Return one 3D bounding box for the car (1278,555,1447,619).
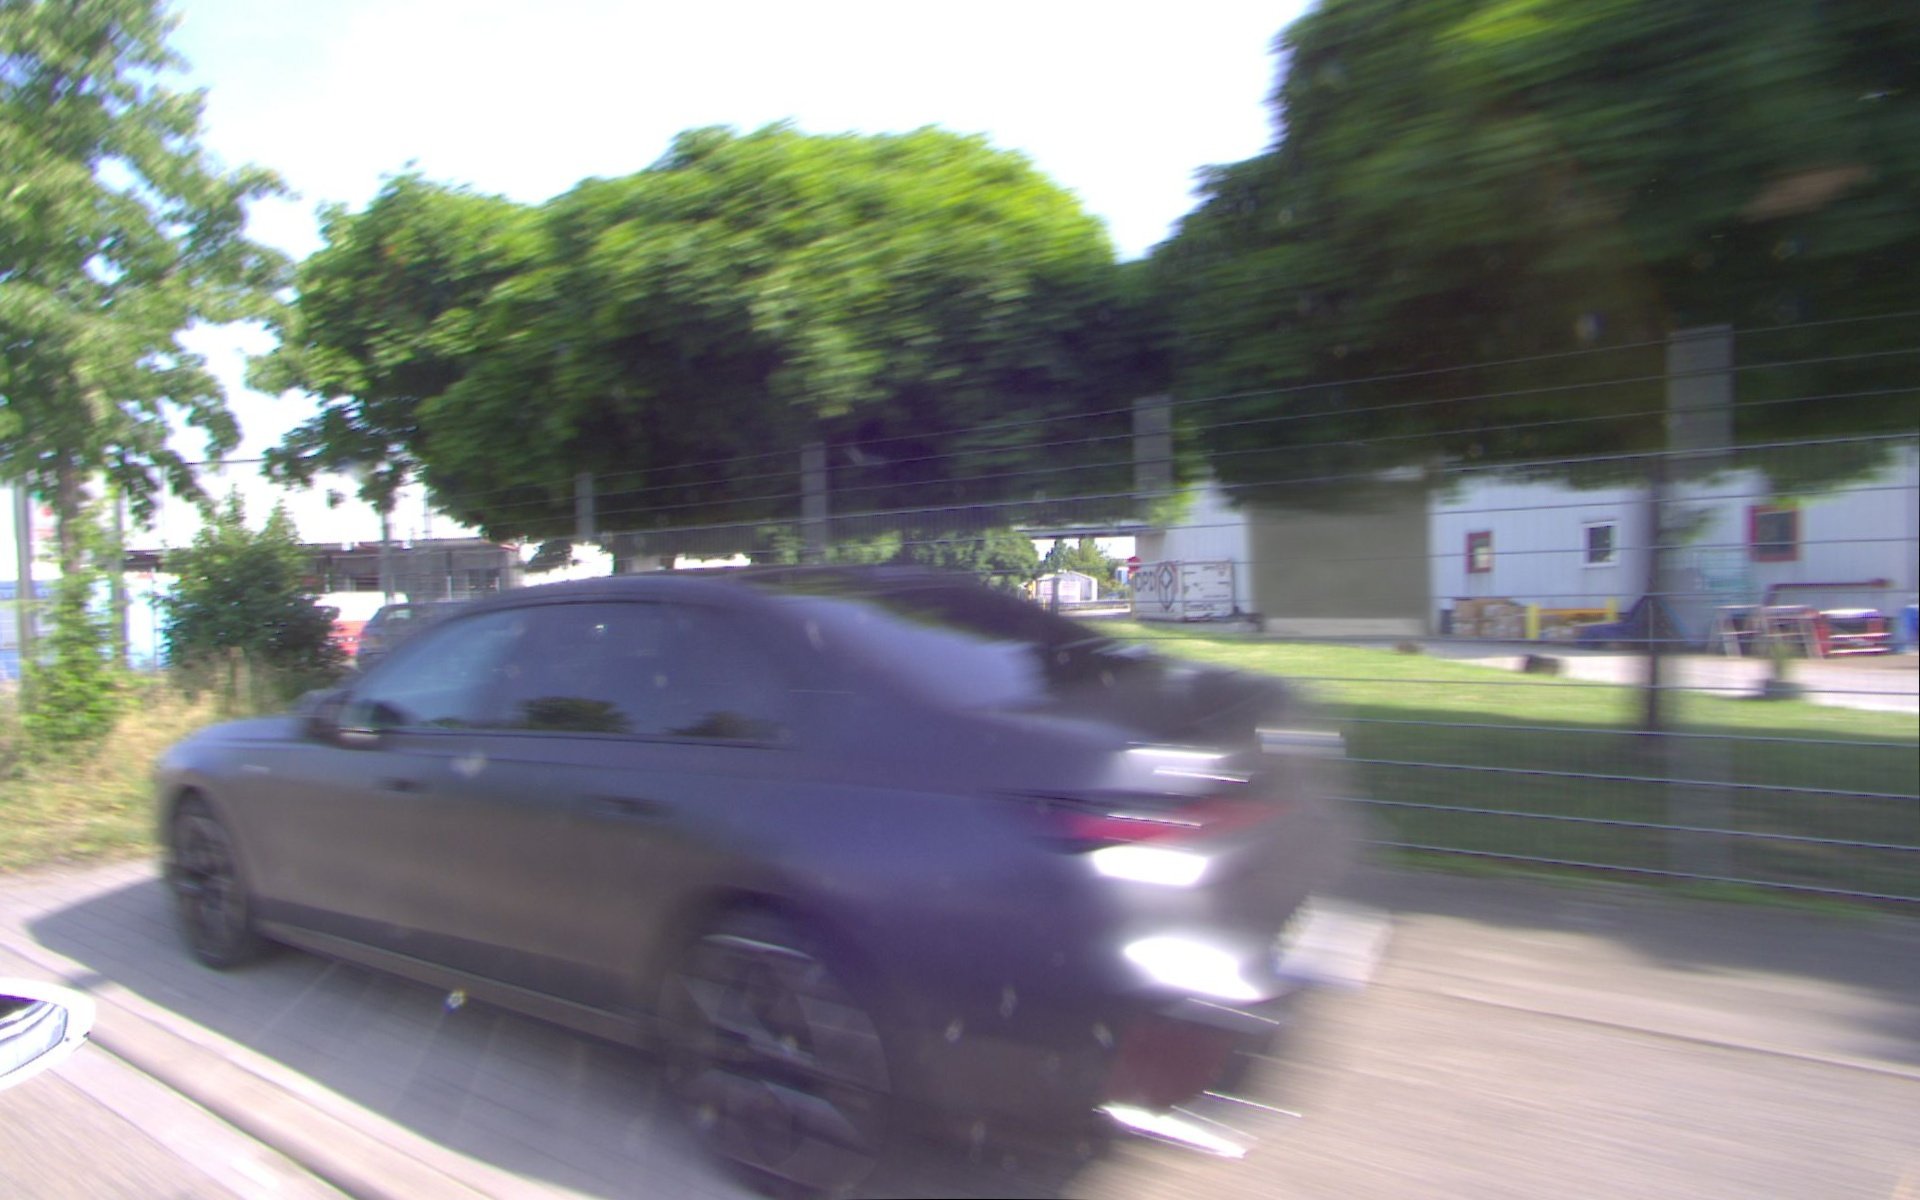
[{"bbox_3d":[17.392,-0.562,43.349,6.573,2.551,2.173,-2,1,-9],"label":"car"}]

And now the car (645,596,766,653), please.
[{"bbox_3d":[-7.693,0.692,30.731,1.696,1.537,4.488,-3,-1,13],"label":"car"}]

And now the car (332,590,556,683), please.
[{"bbox_3d":[-9.959,0.654,19.707,1.696,1.543,3.957,-4,-1,13],"label":"car"}]

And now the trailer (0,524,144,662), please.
[{"bbox_3d":[-28.848,-0.145,28.718,2.724,3.944,8.558,-3,-1,11],"label":"trailer"}]

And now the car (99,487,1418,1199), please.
[{"bbox_3d":[-1.133,0.625,3.845,5.046,1.595,1.875,-1,2,33],"label":"car"}]

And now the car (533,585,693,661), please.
[{"bbox_3d":[-8.569,0.540,25.146,1.843,1.646,4.266,-4,-1,11],"label":"car"}]

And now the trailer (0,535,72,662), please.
[{"bbox_3d":[-31.723,0.004,29.366,2.723,3.946,8.556,-1,1,10],"label":"trailer"}]

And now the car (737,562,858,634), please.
[{"bbox_3d":[-6.063,-0.079,38.483,2.166,2.516,6.842,1,0,13],"label":"car"}]
